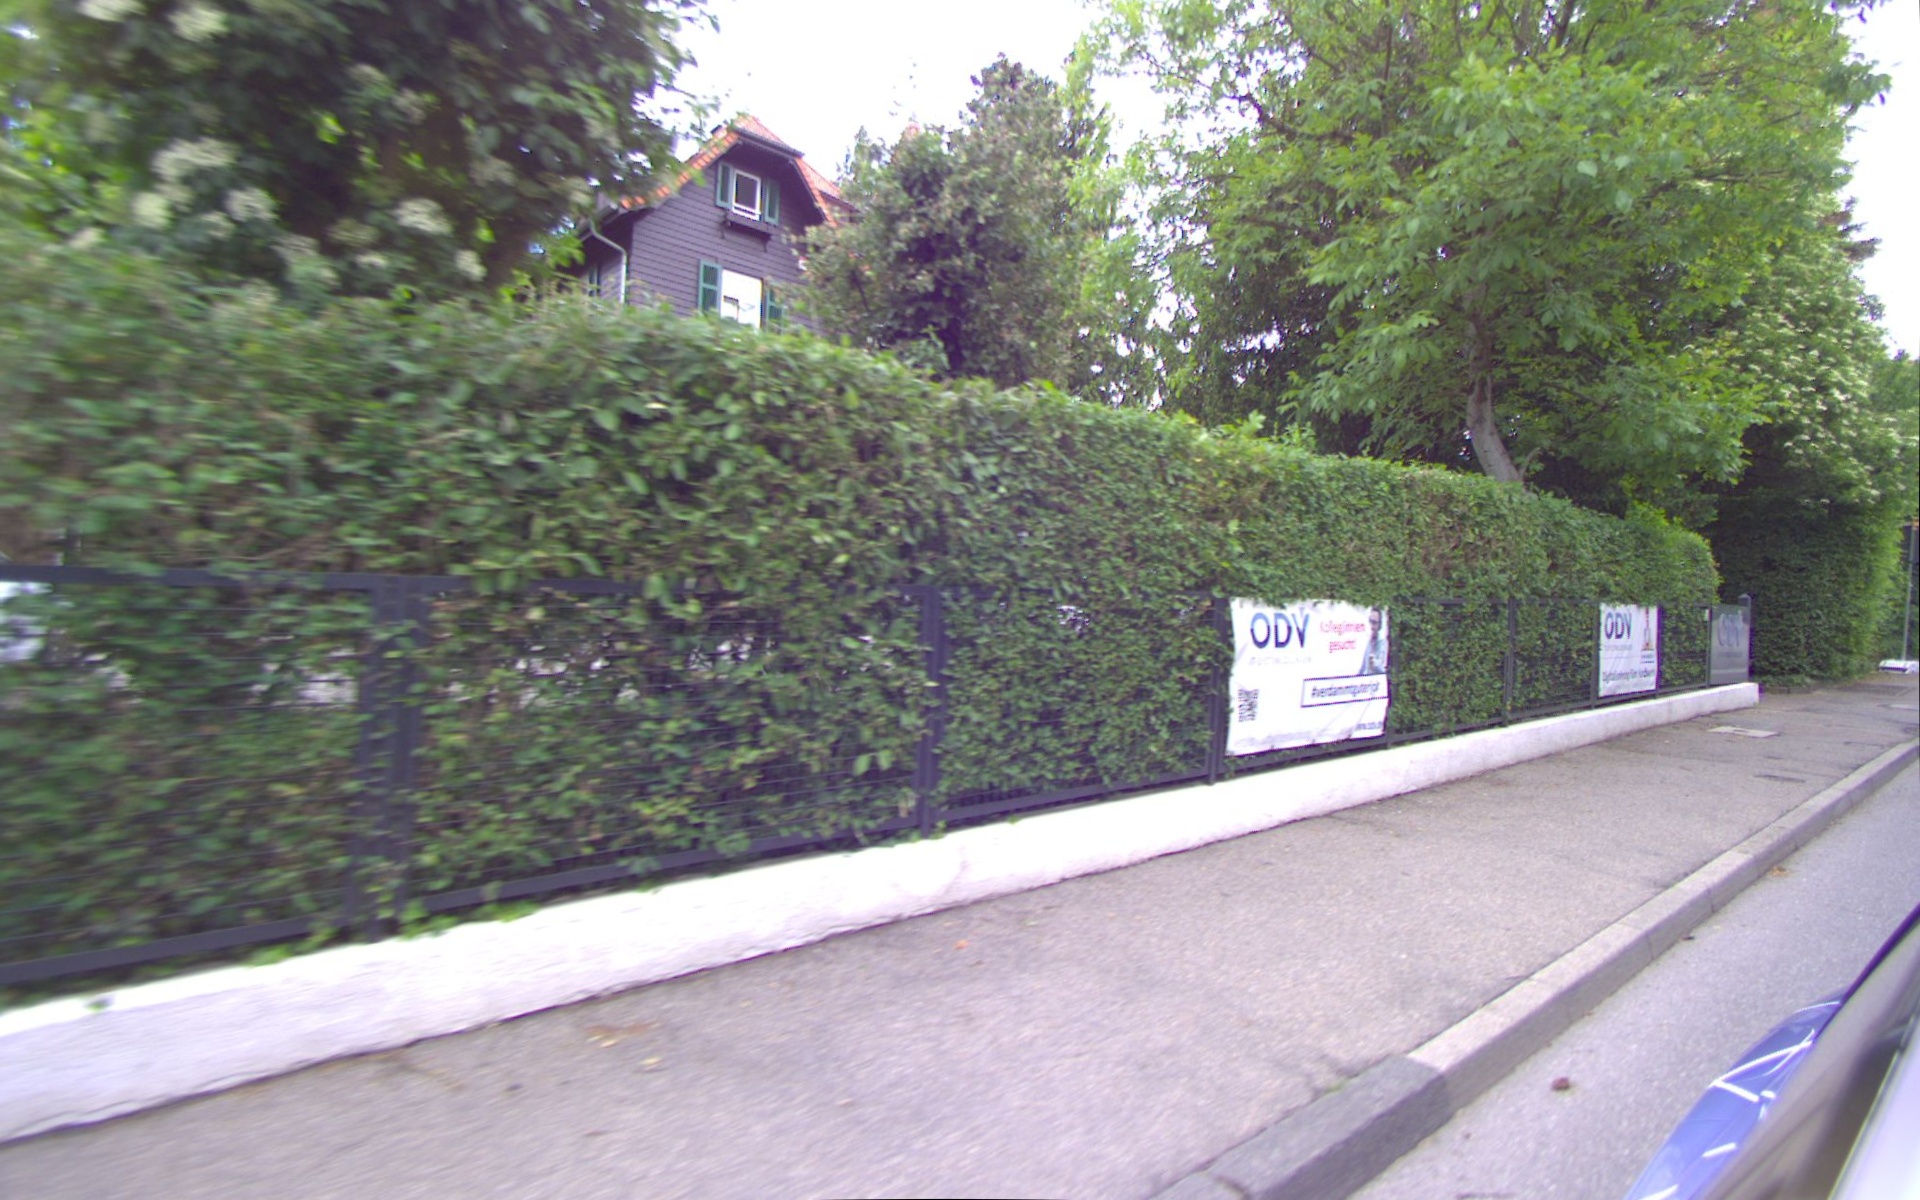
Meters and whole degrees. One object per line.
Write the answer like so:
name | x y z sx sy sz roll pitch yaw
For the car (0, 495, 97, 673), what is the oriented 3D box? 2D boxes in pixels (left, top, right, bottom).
car | -8.822 -0.138 7.843 1.958 1.482 4.008 1 0 -20
